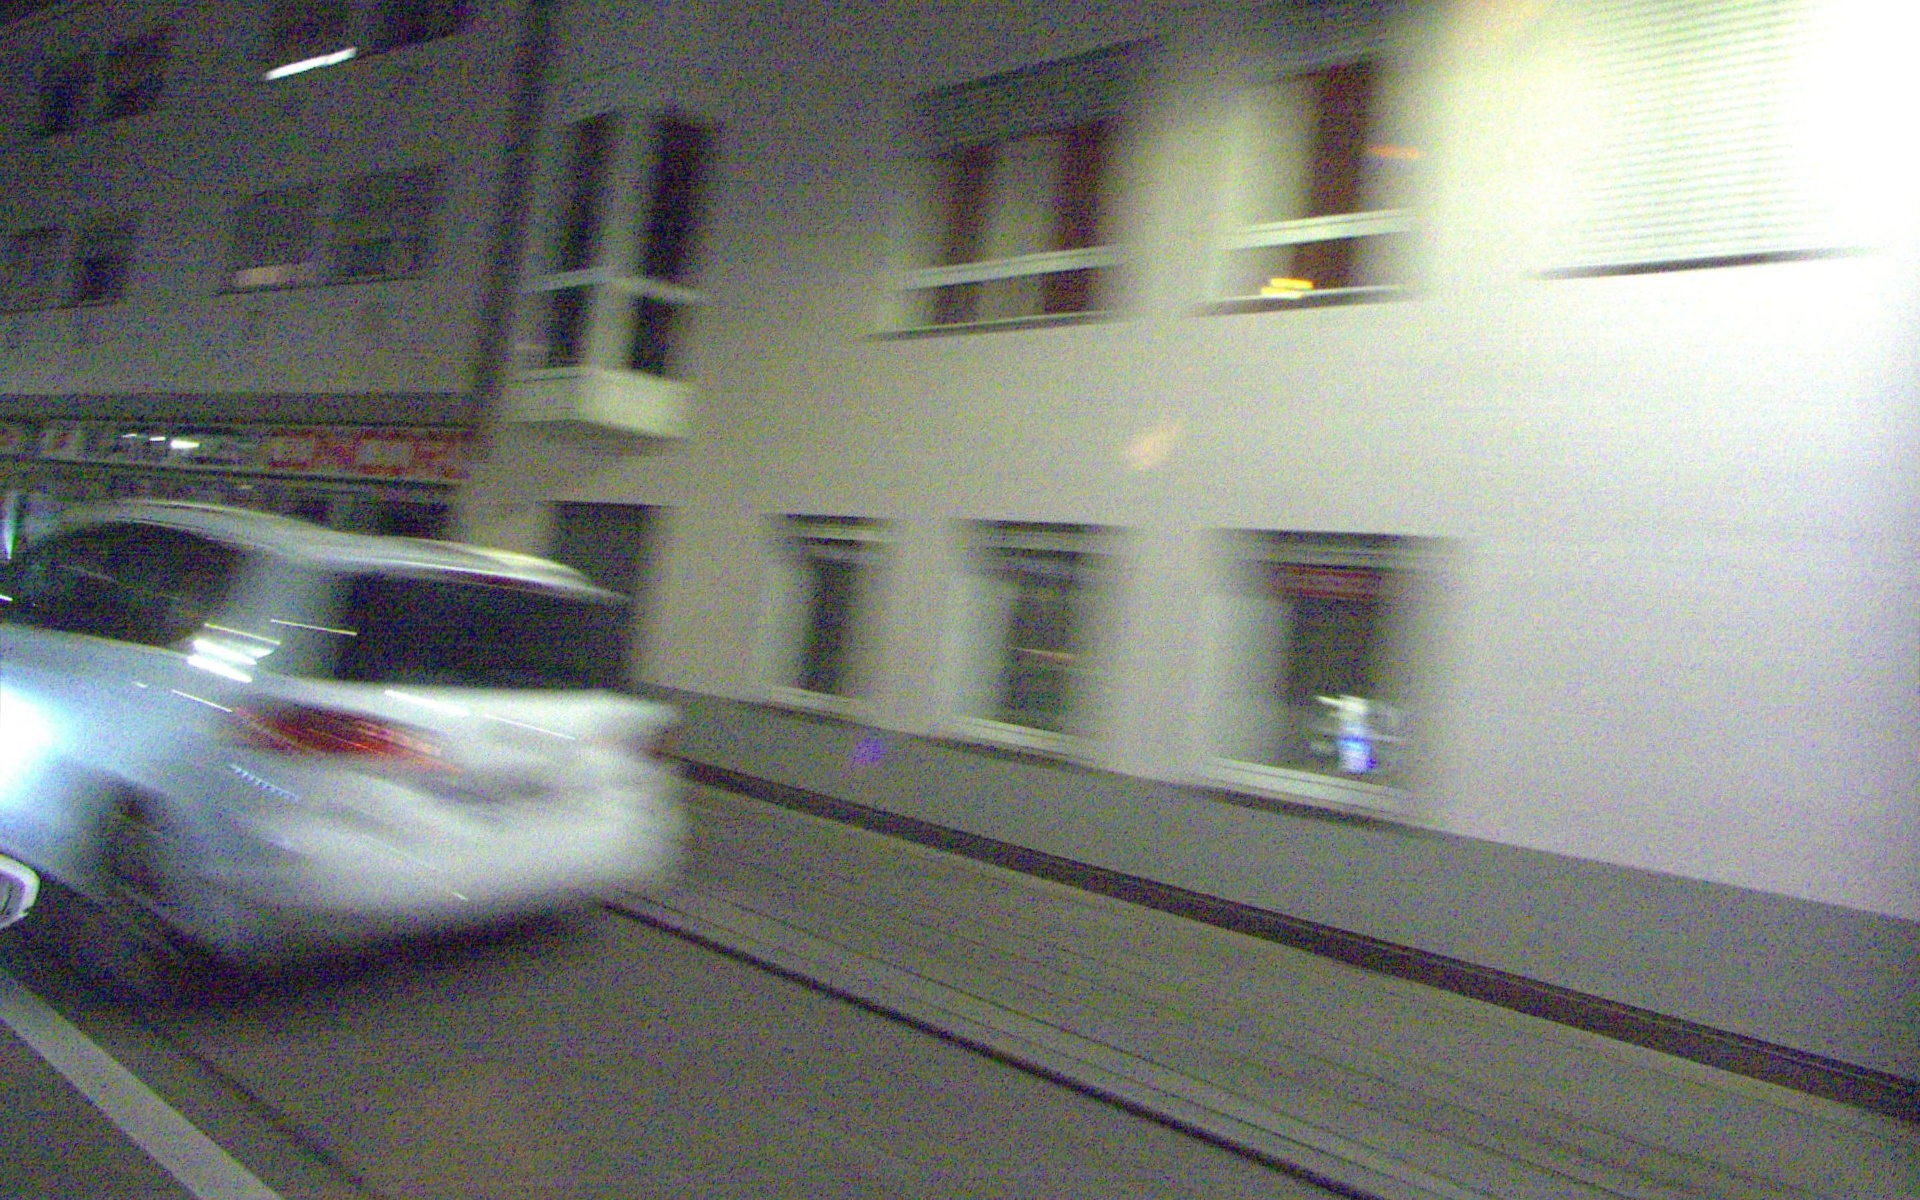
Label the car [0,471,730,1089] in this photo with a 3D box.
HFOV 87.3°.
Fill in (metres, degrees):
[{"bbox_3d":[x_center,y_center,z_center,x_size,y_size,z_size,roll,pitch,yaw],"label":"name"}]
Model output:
[{"bbox_3d":[-3.271,0.395,4.453,4.136,1.587,1.747,6,-2,29],"label":"car"}]
